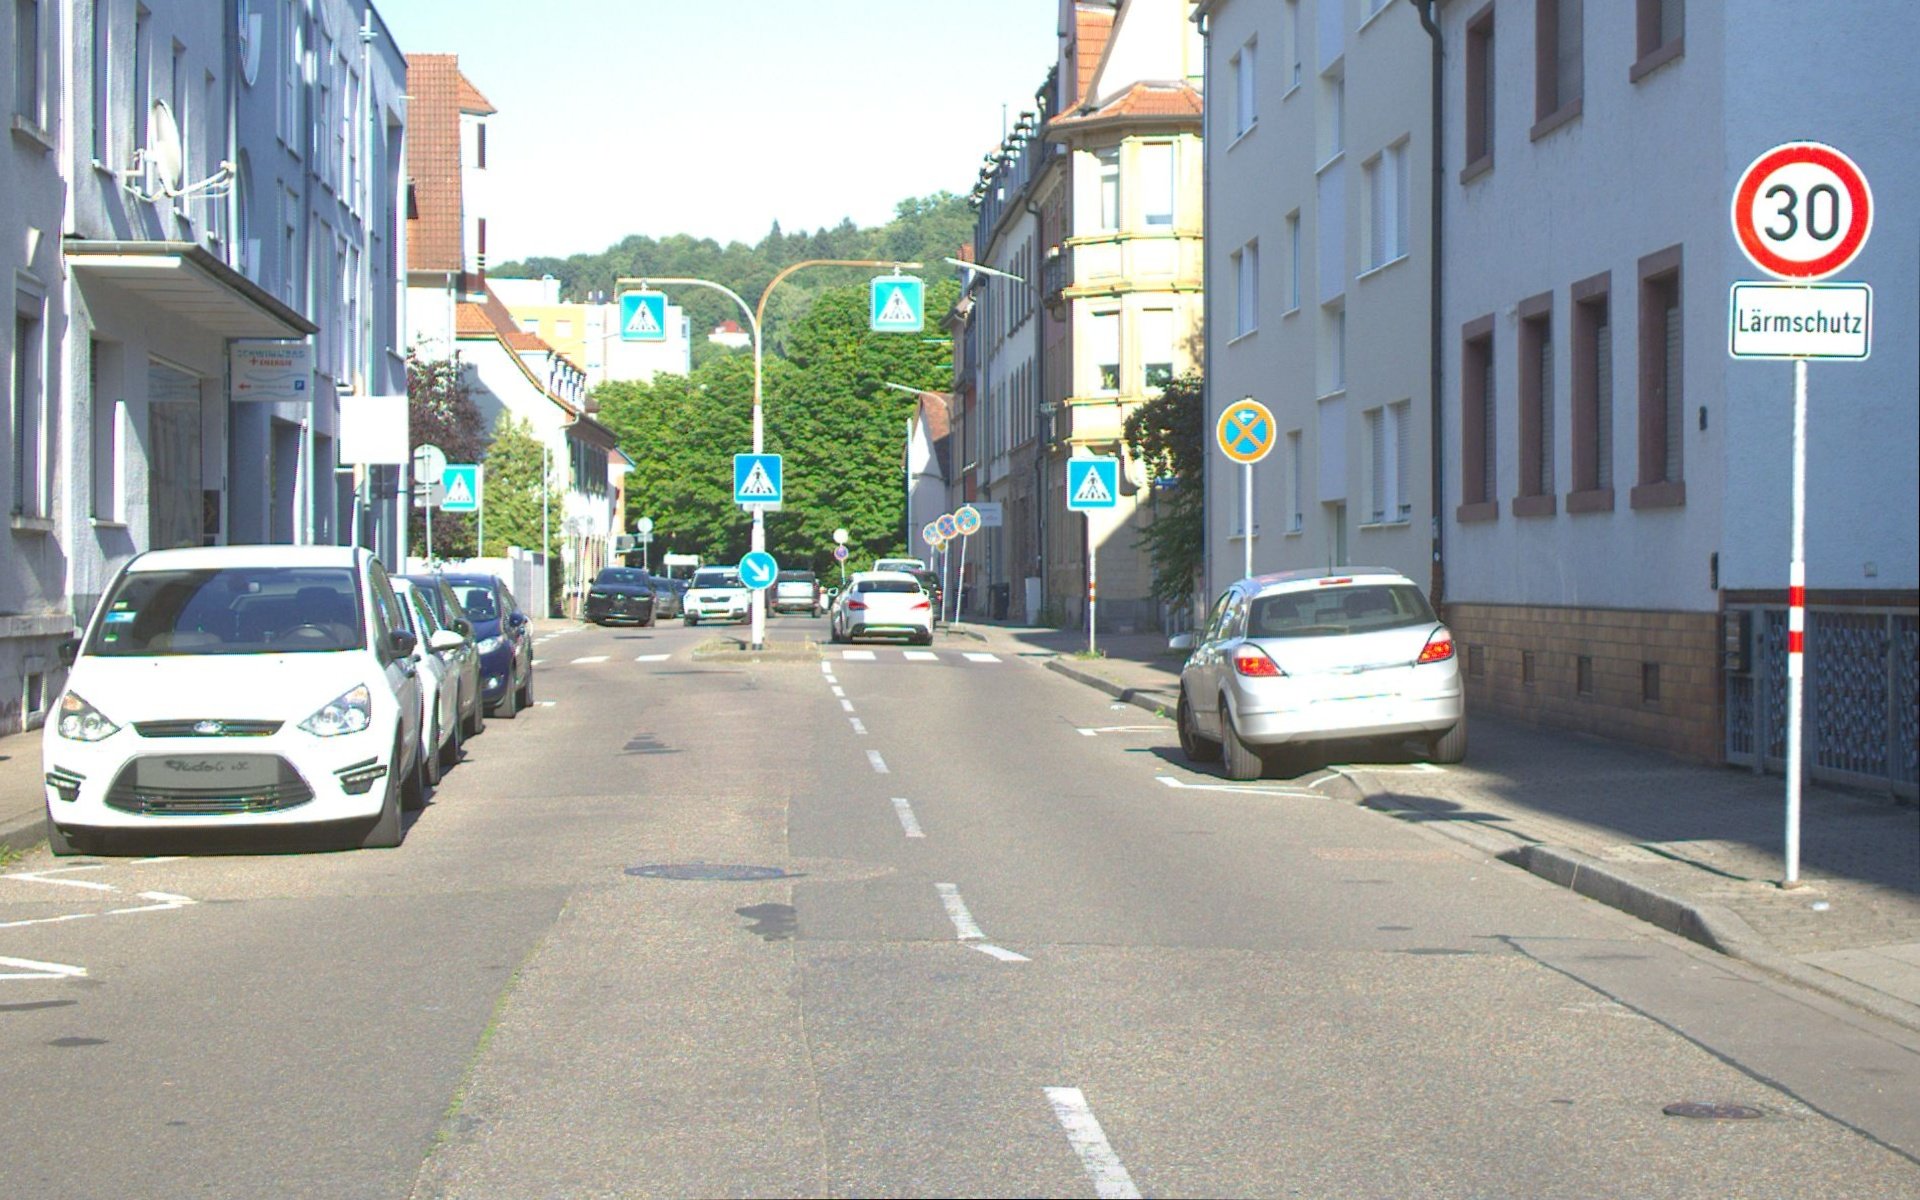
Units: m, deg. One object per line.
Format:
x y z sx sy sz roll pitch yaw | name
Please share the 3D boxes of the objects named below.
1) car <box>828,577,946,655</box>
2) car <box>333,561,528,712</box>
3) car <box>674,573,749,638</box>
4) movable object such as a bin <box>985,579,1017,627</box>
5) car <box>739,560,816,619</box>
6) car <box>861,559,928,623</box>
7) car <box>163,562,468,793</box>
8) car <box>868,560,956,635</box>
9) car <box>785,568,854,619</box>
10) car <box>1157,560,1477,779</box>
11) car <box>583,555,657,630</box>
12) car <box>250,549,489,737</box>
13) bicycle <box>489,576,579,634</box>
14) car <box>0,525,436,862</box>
-1.451 0.287 66.938 1.993 1.461 4.001 0 0 -6 | car
-5.489 0.364 36.030 1.730 1.494 3.959 0 0 -4 | car
-6.933 0.135 95.692 1.807 1.696 4.193 -2 1 -7 | car
1.213 0.093 101.691 0.871 1.373 0.685 -1 1 -4 | movable object such as a bin
-6.265 -0.374 117.684 1.993 2.007 4.001 0 0 -12 | car
-2.054 -0.294 107.015 1.841 1.899 4.001 -1 1 -4 | car
-4.621 0.494 25.147 1.764 1.490 4.127 -2 1 -5 | car
-1.288 -0.087 90.746 2.010 1.846 4.001 1 1 -5 | car
-5.681 -0.279 138.405 1.993 2.007 4.001 0 1 -14 | car
2.609 0.462 26.087 1.741 1.487 4.439 -1 1 -3 | car
-9.467 -0.229 95.974 1.993 2.007 4.001 1 1 -5 | car
-5.107 0.362 30.130 1.660 1.521 3.809 1 0 -4 | car
-8.683 0.103 70.081 1.786 1.180 0.599 0 0 -2 | bicycle
-4.103 0.432 19.573 1.993 1.642 5.223 1 1 -6 | car
